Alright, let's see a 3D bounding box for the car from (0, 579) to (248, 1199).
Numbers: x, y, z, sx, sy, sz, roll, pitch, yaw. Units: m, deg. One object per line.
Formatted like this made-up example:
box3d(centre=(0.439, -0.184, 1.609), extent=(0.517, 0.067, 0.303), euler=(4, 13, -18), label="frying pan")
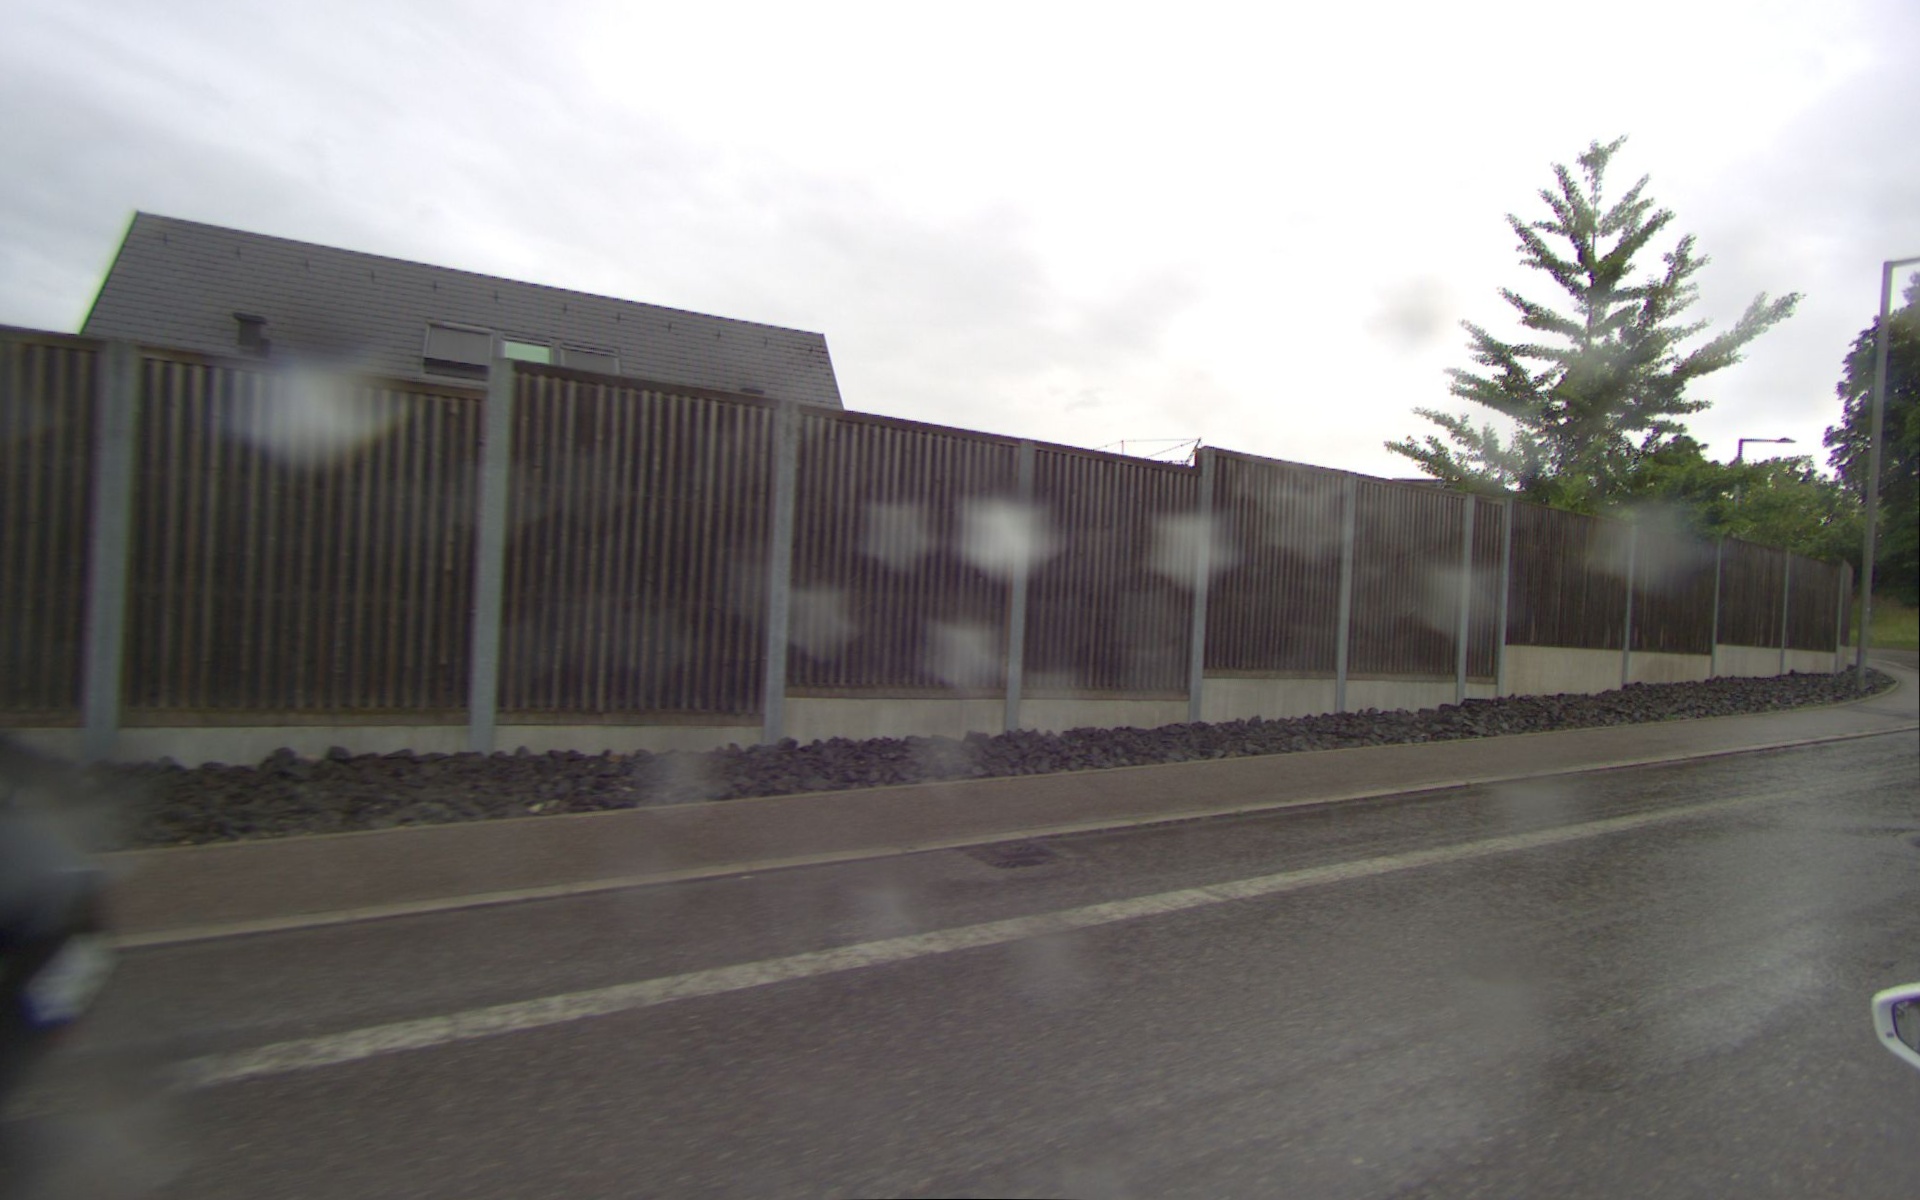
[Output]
box3d(centre=(-3.866, 0.661, 1.660), extent=(4.157, 1.469, 1.873), euler=(1, 1, -29), label="car")
